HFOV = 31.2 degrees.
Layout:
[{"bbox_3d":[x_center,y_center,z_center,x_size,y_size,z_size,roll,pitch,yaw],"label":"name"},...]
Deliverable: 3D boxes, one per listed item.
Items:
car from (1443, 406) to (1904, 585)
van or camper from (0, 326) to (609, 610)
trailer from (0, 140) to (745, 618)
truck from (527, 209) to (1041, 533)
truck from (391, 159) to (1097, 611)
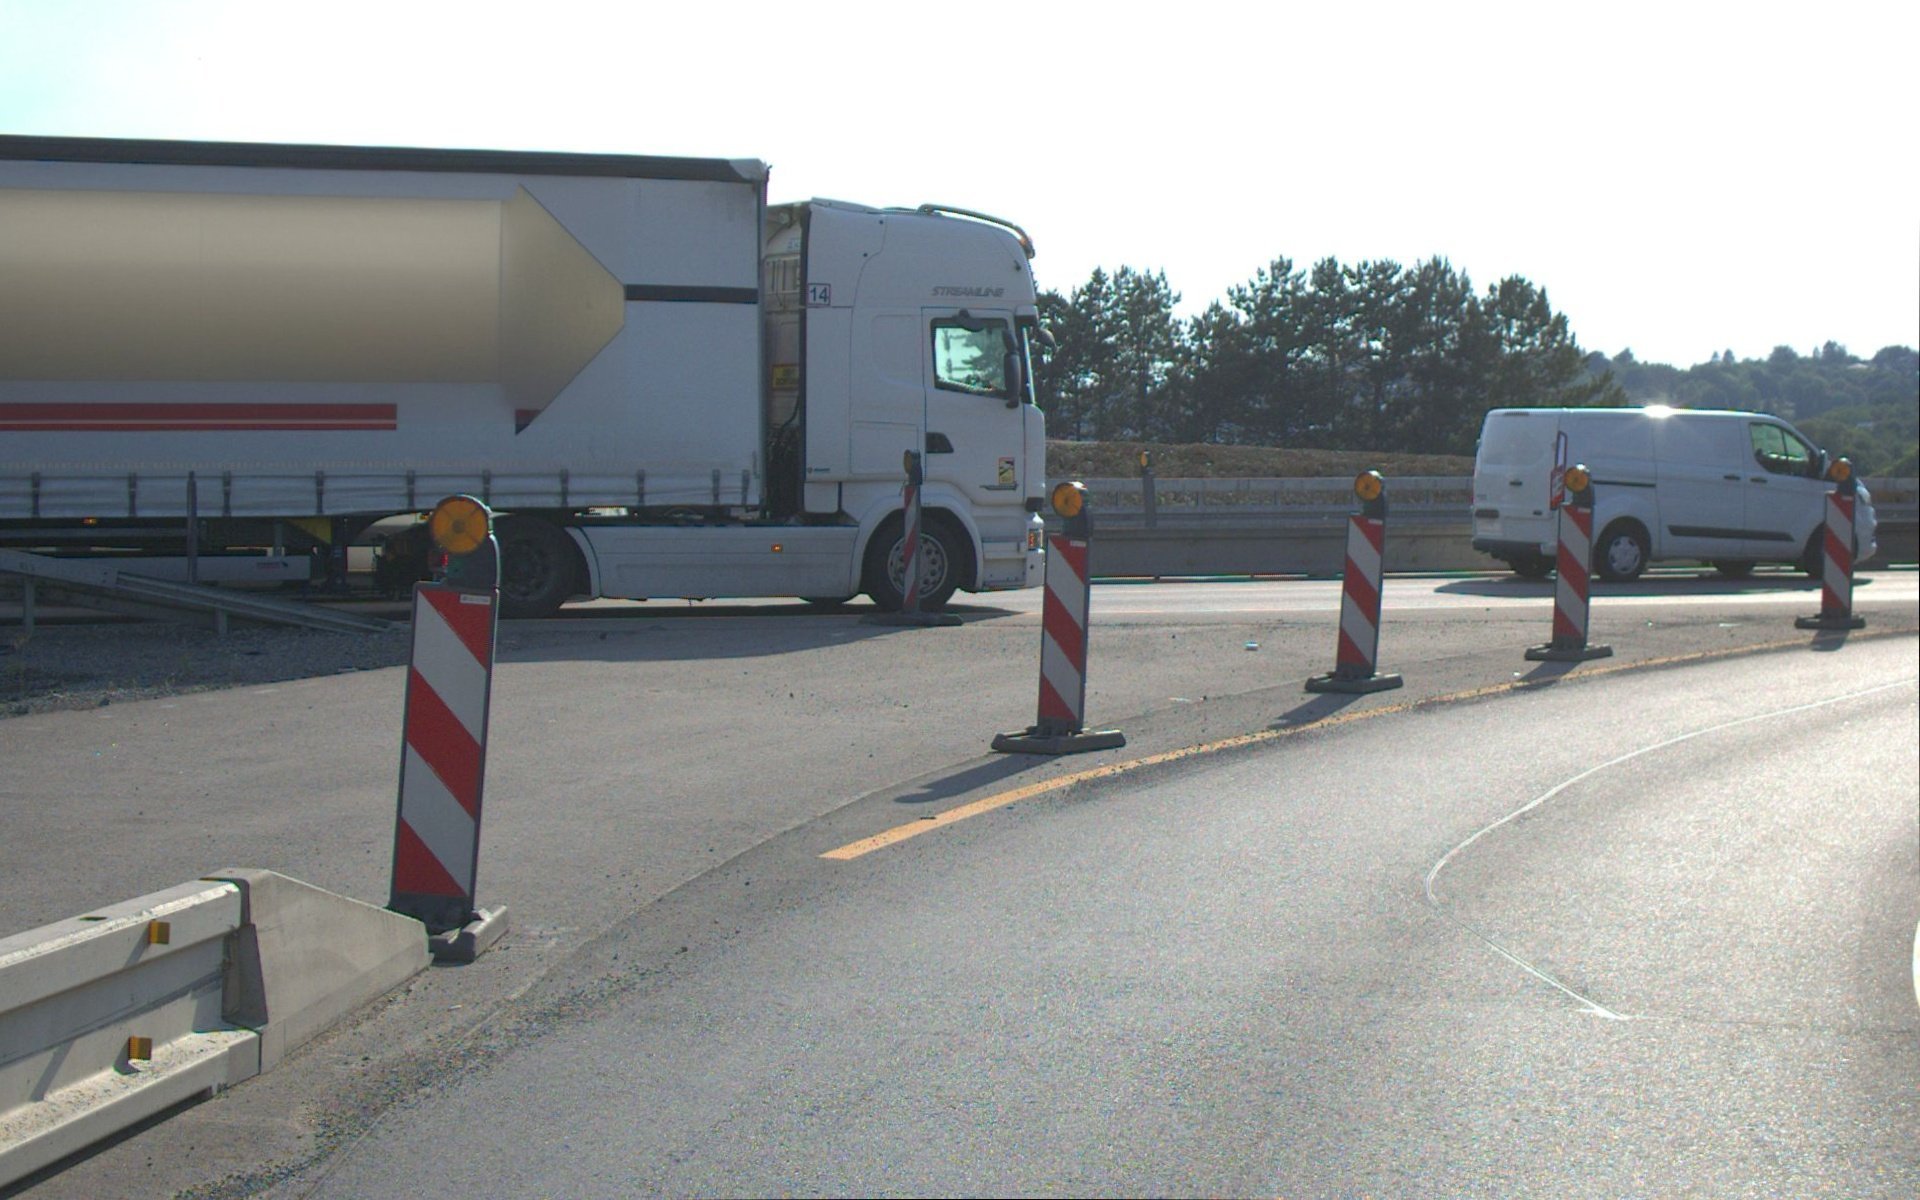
[{"bbox_3d":[8.337,-1.238,40.179,4.962,1.974,2.036,-1,4,-23],"label":"car"},{"bbox_3d":[-6.579,-1.260,33.777,5.883,2.611,2.001,0,2,-24],"label":"van or camper"},{"bbox_3d":[-8.625,-1.823,28.781,13.583,3.865,2.489,0,2,-24],"label":"trailer"},{"bbox_3d":[-2.204,-2.722,42.658,5.668,3.714,3.007,0,0,-24],"label":"truck"},{"bbox_3d":[-1.992,-1.881,31.814,5.990,3.865,2.489,0,2,-24],"label":"truck"}]
